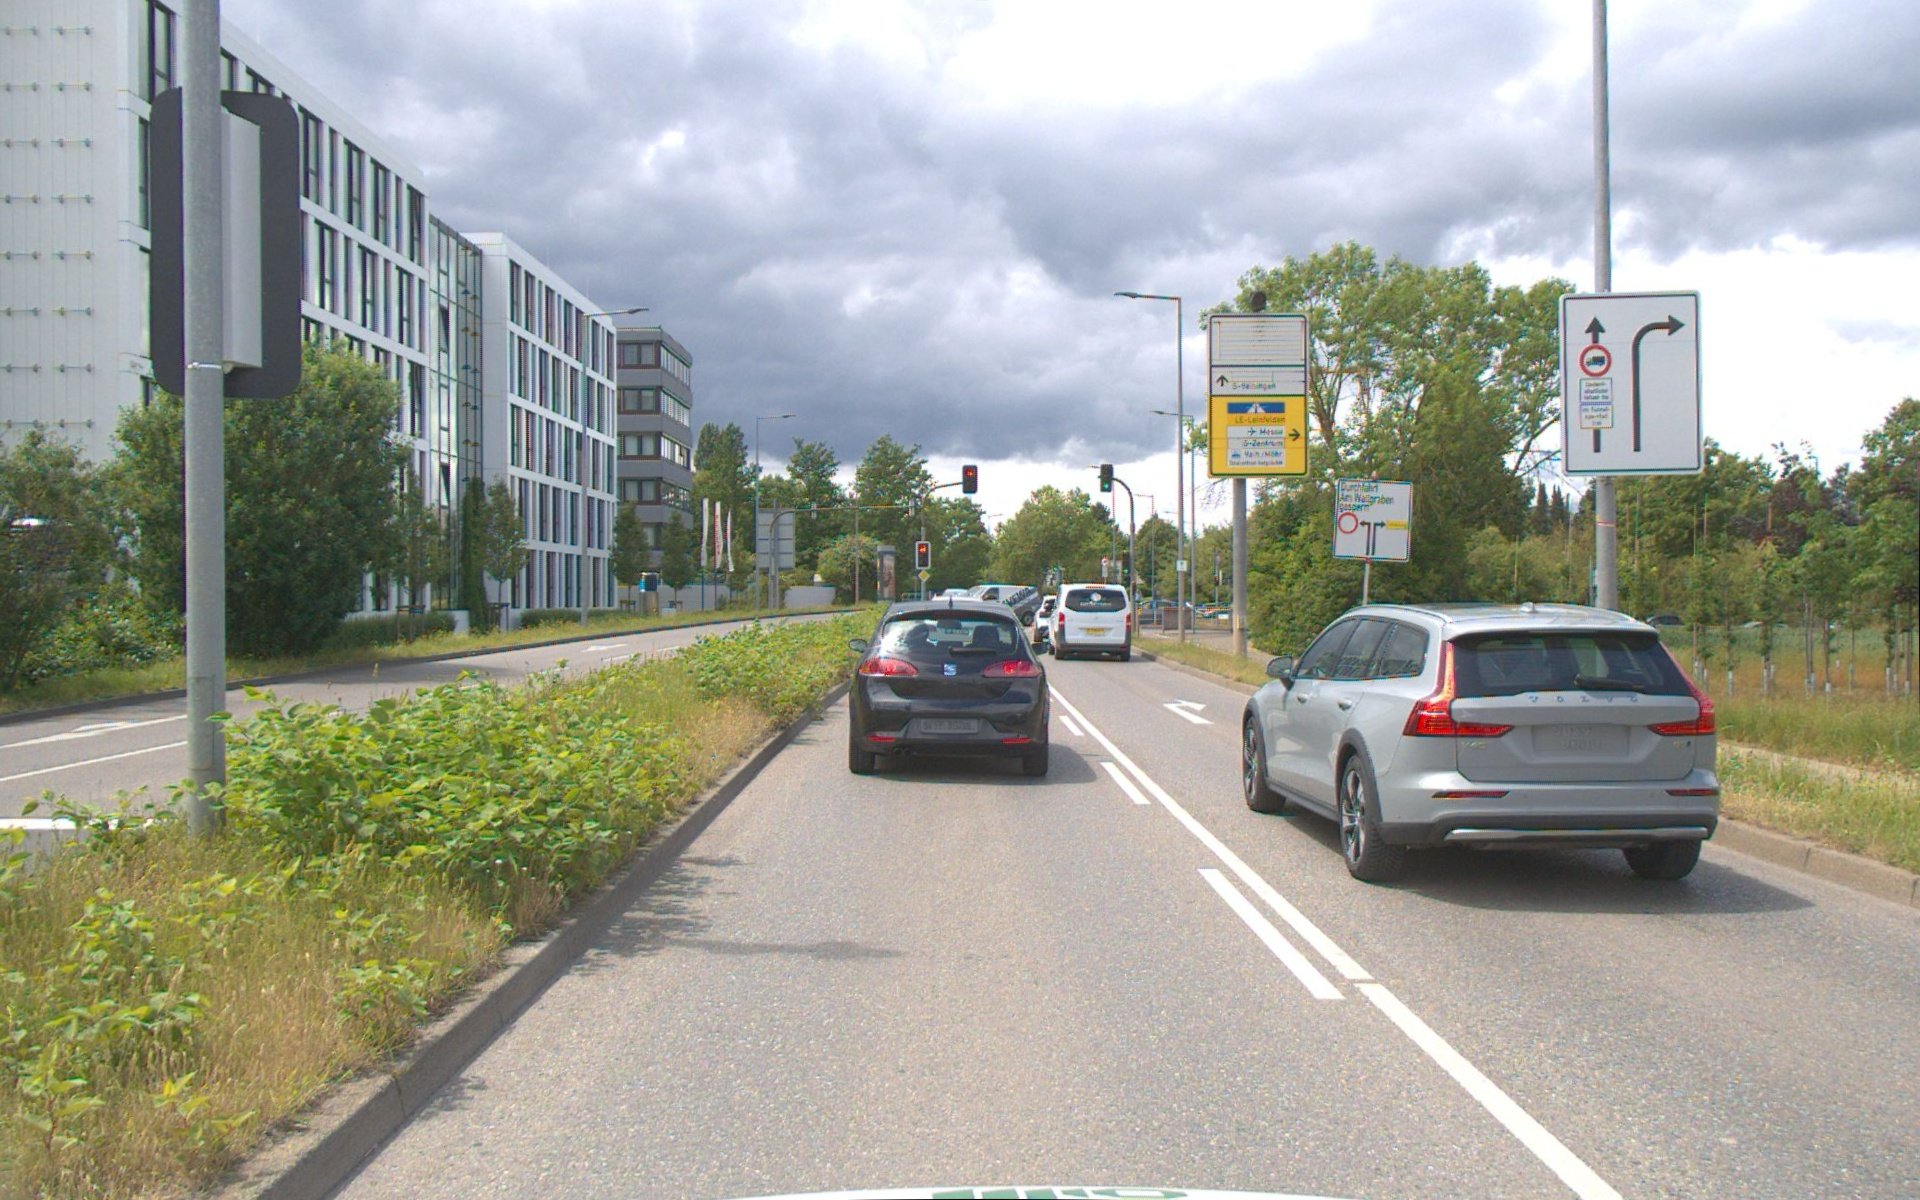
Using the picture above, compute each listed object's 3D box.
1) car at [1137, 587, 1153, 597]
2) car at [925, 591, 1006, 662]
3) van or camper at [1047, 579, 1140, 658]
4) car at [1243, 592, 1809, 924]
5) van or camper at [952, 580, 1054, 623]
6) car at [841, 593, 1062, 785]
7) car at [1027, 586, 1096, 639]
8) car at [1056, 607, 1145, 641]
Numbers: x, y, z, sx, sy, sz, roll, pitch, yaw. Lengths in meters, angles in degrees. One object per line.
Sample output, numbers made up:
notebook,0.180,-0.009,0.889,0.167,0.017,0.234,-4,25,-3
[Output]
car,25.956,-1.182,232.323,1.951,1.375,4.003,1,0,9
car,0.103,0.555,37.454,1.737,1.517,3.582,0,0,-1
van or camper,3.325,0.443,42.011,1.953,1.892,4.943,0,0,0
car,3.076,0.737,10.081,1.825,1.545,4.445,0,0,-2
van or camper,2.139,0.059,81.496,4.756,2.049,1.977,0,0,-33
car,-0.024,0.703,15.003,1.736,1.477,3.583,1,0,1
car,3.264,0.390,54.071,1.953,1.660,3.999,0,0,-1
car,5.786,0.986,68.163,3.322,1.369,1.683,0,0,-14
